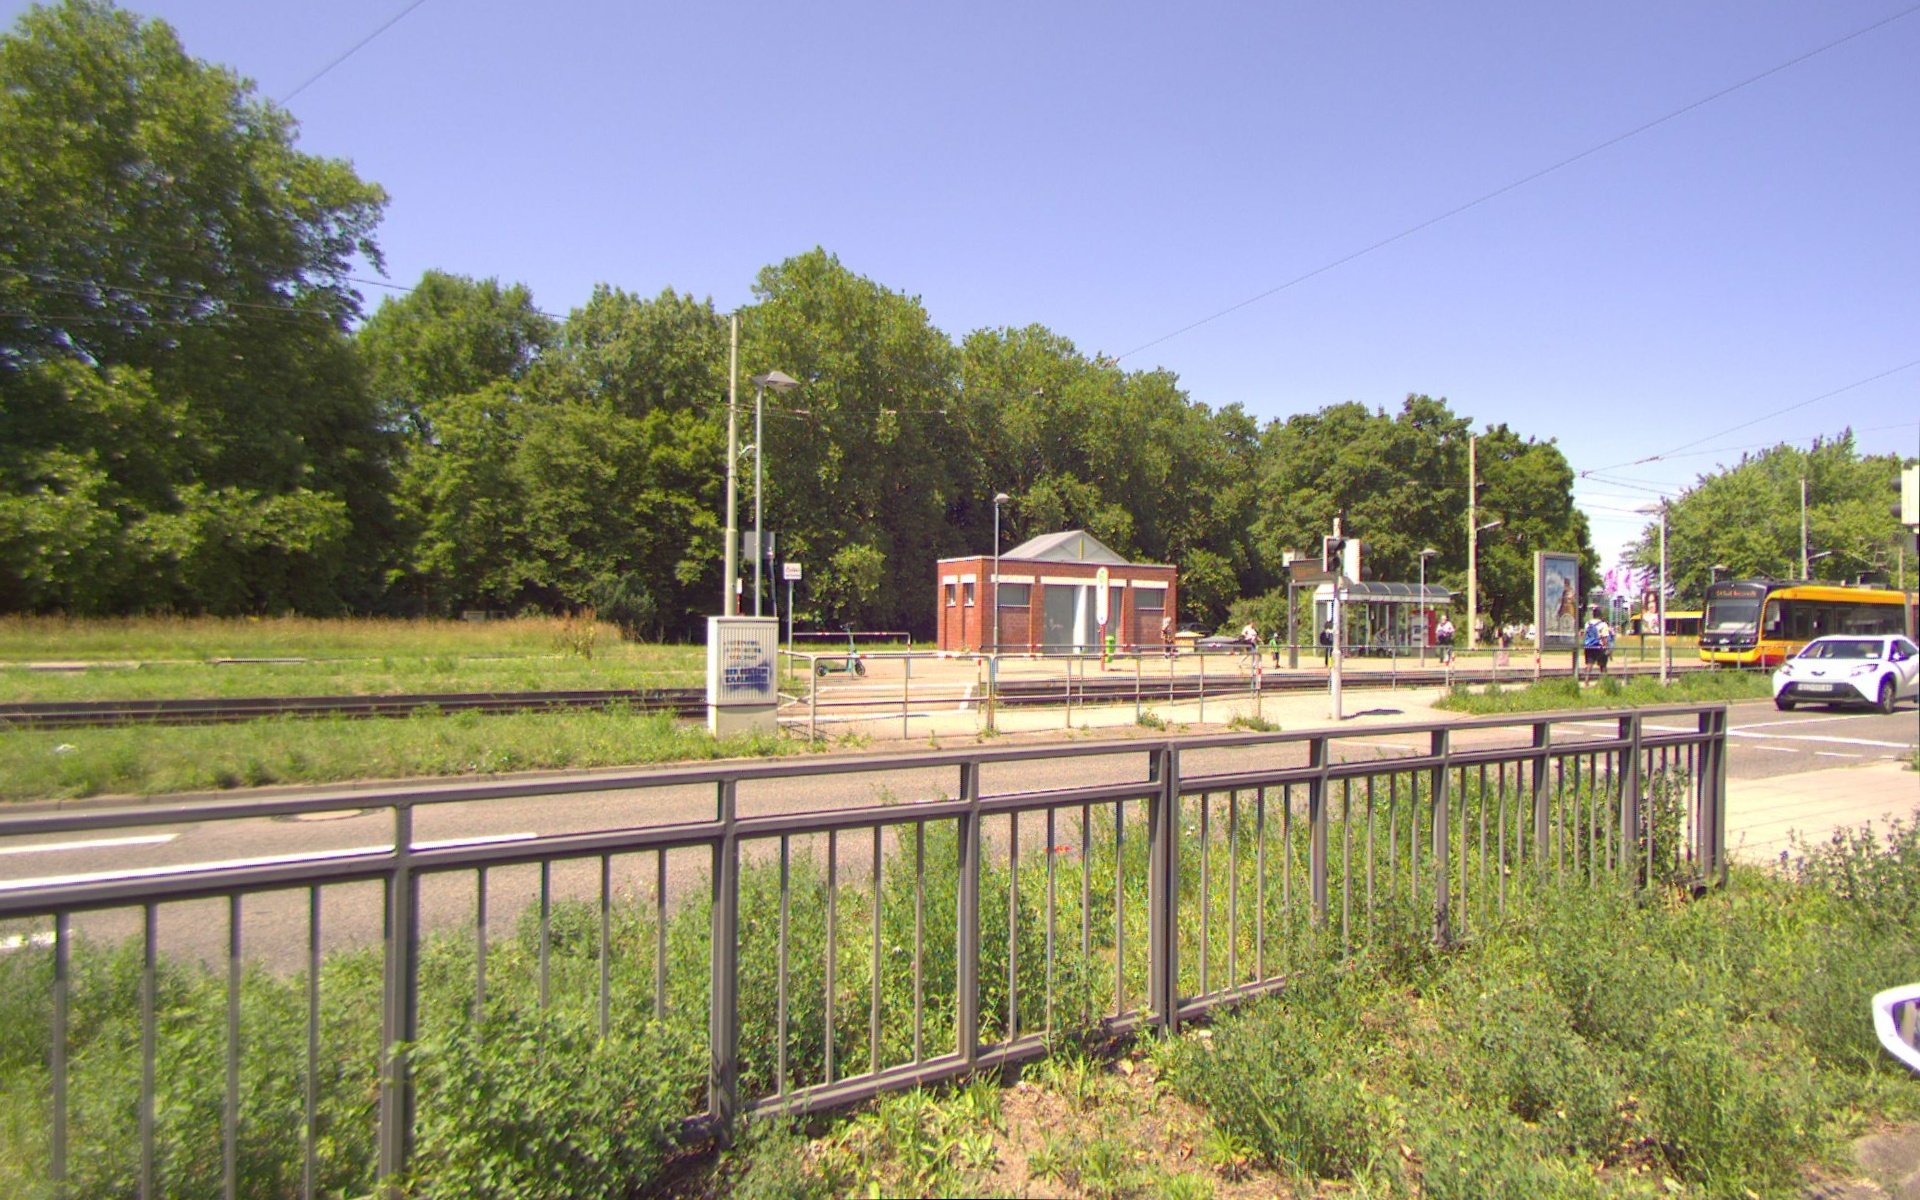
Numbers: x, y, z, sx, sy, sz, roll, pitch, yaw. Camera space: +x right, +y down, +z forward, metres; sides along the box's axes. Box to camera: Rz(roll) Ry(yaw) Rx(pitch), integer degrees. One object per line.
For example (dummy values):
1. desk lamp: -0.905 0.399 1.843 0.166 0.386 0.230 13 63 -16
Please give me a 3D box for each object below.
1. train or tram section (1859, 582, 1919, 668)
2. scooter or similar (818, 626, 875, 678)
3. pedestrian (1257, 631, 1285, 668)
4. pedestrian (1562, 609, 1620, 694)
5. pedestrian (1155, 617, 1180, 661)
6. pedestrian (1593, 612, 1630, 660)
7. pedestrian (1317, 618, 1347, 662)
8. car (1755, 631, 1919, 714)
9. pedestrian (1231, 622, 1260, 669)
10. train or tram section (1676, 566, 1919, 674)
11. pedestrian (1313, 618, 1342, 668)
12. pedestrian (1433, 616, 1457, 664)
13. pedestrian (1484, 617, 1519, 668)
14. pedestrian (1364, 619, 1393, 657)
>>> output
1. train or tram section: 50.807 1.384 53.612 3.183 3.984 18.381 0 -1 45
2. scooter or similar: -2.644 1.204 23.444 1.217 1.183 0.508 1 -1 -30
3. pedestrian: 9.925 1.572 32.024 0.563 1.139 0.636 1 -1 -30
4. pedestrian: 14.210 1.140 22.625 0.832 1.802 0.714 -1 5 -30
5. pedestrian: 7.128 1.332 34.490 0.563 1.499 0.636 1 -1 -30
6. pedestrian: 27.870 1.539 42.995 1.009 2.040 0.976 1 -1 -30
7. pedestrian: 13.771 1.479 37.169 0.799 1.611 0.668 1 -1 -30
8. car: 18.115 1.420 20.436 3.747 1.514 1.836 1 -1 -30
9. pedestrian: 8.997 1.427 31.638 0.576 1.476 0.636 1 -1 -30
10. train or tram section: 36.890 0.942 42.892 18.284 3.984 3.200 1 -1 -31
11. pedestrian: 11.836 1.389 32.391 0.688 1.575 0.629 1 -1 -42
12. pedestrian: 18.631 1.519 38.630 0.707 1.824 0.845 0 -1 17
13. pedestrian: 20.026 1.550 37.149 0.832 1.802 0.714 -1 5 -30
14. pedestrian: 17.237 1.574 41.369 0.710 1.531 0.841 1 -1 -19
